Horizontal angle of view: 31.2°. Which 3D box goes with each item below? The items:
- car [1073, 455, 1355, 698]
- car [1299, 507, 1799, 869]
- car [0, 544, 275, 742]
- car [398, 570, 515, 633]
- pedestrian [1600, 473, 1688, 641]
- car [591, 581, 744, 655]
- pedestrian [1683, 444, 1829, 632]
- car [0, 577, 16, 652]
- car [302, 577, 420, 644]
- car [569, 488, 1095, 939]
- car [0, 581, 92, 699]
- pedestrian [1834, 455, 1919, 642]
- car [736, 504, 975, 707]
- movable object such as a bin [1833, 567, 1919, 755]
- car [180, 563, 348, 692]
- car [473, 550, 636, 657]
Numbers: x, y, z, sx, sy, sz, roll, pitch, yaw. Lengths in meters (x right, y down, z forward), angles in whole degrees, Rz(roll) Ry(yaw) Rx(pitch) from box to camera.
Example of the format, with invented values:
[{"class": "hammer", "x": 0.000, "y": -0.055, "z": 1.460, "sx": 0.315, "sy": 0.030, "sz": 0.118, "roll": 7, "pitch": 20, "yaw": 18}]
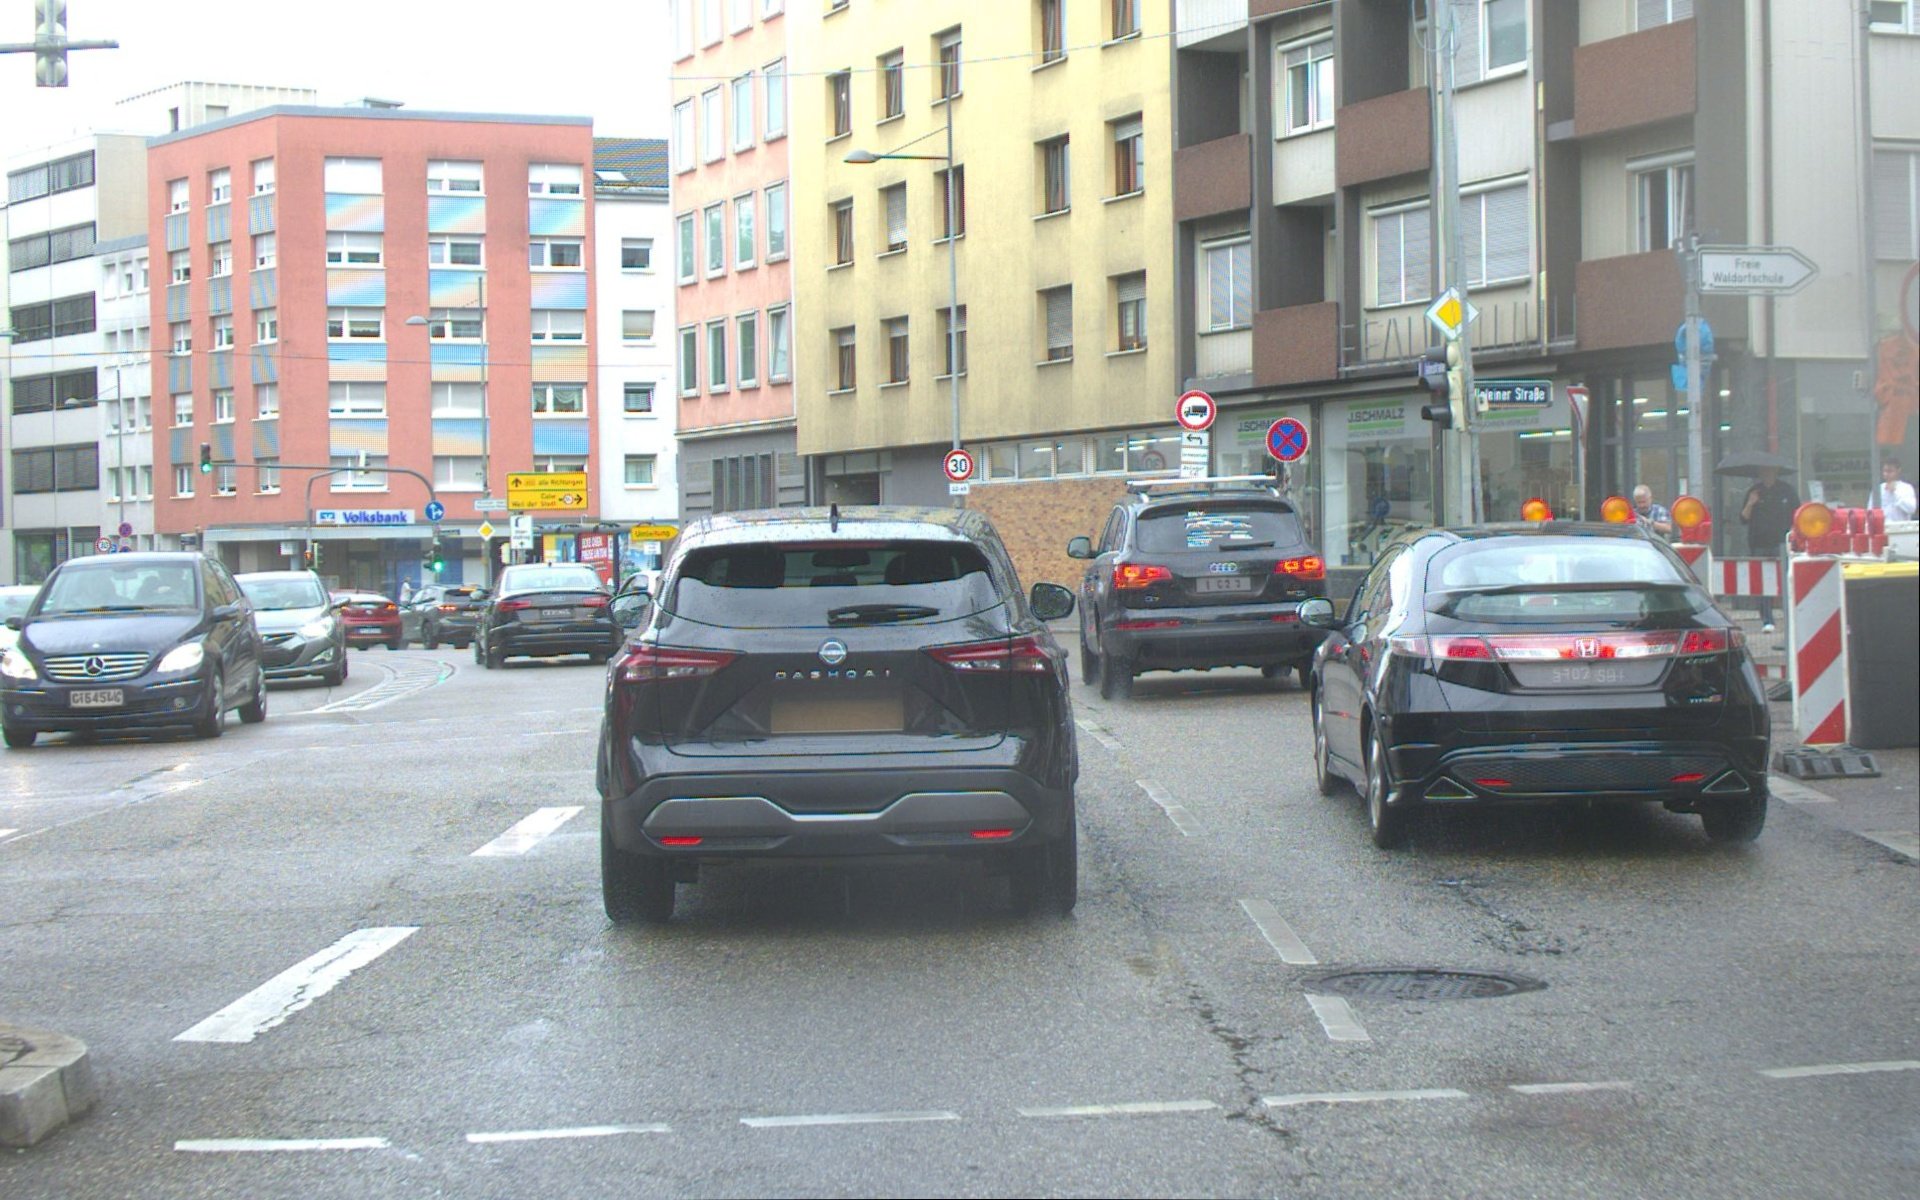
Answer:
[{"class": "car", "x": 2.099, "y": -0.226, "z": 29.733, "sx": 2.021, "sy": 1.863, "sz": 4.899, "roll": -2, "pitch": 1, "yaw": 0}, {"class": "car", "x": 2.704, "y": 0.323, "z": 16.643, "sx": 1.784, "sy": 1.491, "sz": 4.057, "roll": -1, "pitch": 2, "yaw": 1}, {"class": "car", "x": -7.145, "y": 0.316, "z": 29.782, "sx": 1.829, "sy": 1.538, "sz": 4.284, "roll": -2, "pitch": 1, "yaw": -4}, {"class": "car", "x": -12.679, "y": 0.035, "z": 86.415, "sx": 1.993, "sy": 1.514, "sz": 4.001, "roll": 1, "pitch": 0, "yaw": -22}, {"class": "pedestrian", "x": 7.103, "y": -0.441, "z": 35.672, "sx": 0.792, "sy": 1.682, "sz": 0.821, "roll": -3, "pitch": -1, "yaw": 13}, {"class": "car", "x": -6.112, "y": 0.357, "z": 71.426, "sx": 1.993, "sy": 1.481, "sz": 4.001, "roll": 1, "pitch": 0, "yaw": -23}, {"class": "pedestrian", "x": 8.151, "y": -0.634, "z": 35.219, "sx": 0.917, "sy": 1.855, "sz": 1.031, "roll": -2, "pitch": -1, "yaw": -43}, {"class": "car", "x": -19.373, "y": 0.333, "z": 66.115, "sx": 1.722, "sy": 1.395, "sz": 3.595, "roll": -4, "pitch": 1, "yaw": -25}, {"class": "car", "x": -14.165, "y": 0.230, "z": 81.144, "sx": 1.993, "sy": 1.525, "sz": 4.001, "roll": 1, "pitch": 0, "yaw": -21}, {"class": "car", "x": -0.534, "y": 0.381, "z": 14.390, "sx": 1.894, "sy": 1.623, "sz": 4.000, "roll": 0, "pitch": 1, "yaw": -2}, {"class": "car", "x": -12.953, "y": 0.543, "z": 47.062, "sx": 1.928, "sy": 1.469, "sz": 4.605, "roll": -4, "pitch": 1, "yaw": -13}, {"class": "pedestrian", "x": 9.632, "y": -0.534, "z": 35.551, "sx": 0.657, "sy": 1.873, "sz": 0.991, "roll": -4, "pitch": -1, "yaw": 43}, {"class": "car", "x": -0.904, "y": 0.013, "z": 31.970, "sx": 1.946, "sy": 1.679, "sz": 4.000, "roll": -3, "pitch": 1, "yaw": 1}, {"class": "movable object such as a bin", "x": 5.436, "y": 0.341, "z": 19.806, "sx": 0.620, "sy": 1.028, "sz": 0.532, "roll": -3, "pitch": 2, "yaw": -3}, {"class": "car", "x": -8.713, "y": 0.311, "z": 43.333, "sx": 1.852, "sy": 1.469, "sz": 4.649, "roll": -2, "pitch": 1, "yaw": -9}, {"class": "car", "x": -5.657, "y": 0.048, "z": 47.519, "sx": 1.993, "sy": 1.383, "sz": 4.501, "roll": 1, "pitch": 0, "yaw": -10}]
